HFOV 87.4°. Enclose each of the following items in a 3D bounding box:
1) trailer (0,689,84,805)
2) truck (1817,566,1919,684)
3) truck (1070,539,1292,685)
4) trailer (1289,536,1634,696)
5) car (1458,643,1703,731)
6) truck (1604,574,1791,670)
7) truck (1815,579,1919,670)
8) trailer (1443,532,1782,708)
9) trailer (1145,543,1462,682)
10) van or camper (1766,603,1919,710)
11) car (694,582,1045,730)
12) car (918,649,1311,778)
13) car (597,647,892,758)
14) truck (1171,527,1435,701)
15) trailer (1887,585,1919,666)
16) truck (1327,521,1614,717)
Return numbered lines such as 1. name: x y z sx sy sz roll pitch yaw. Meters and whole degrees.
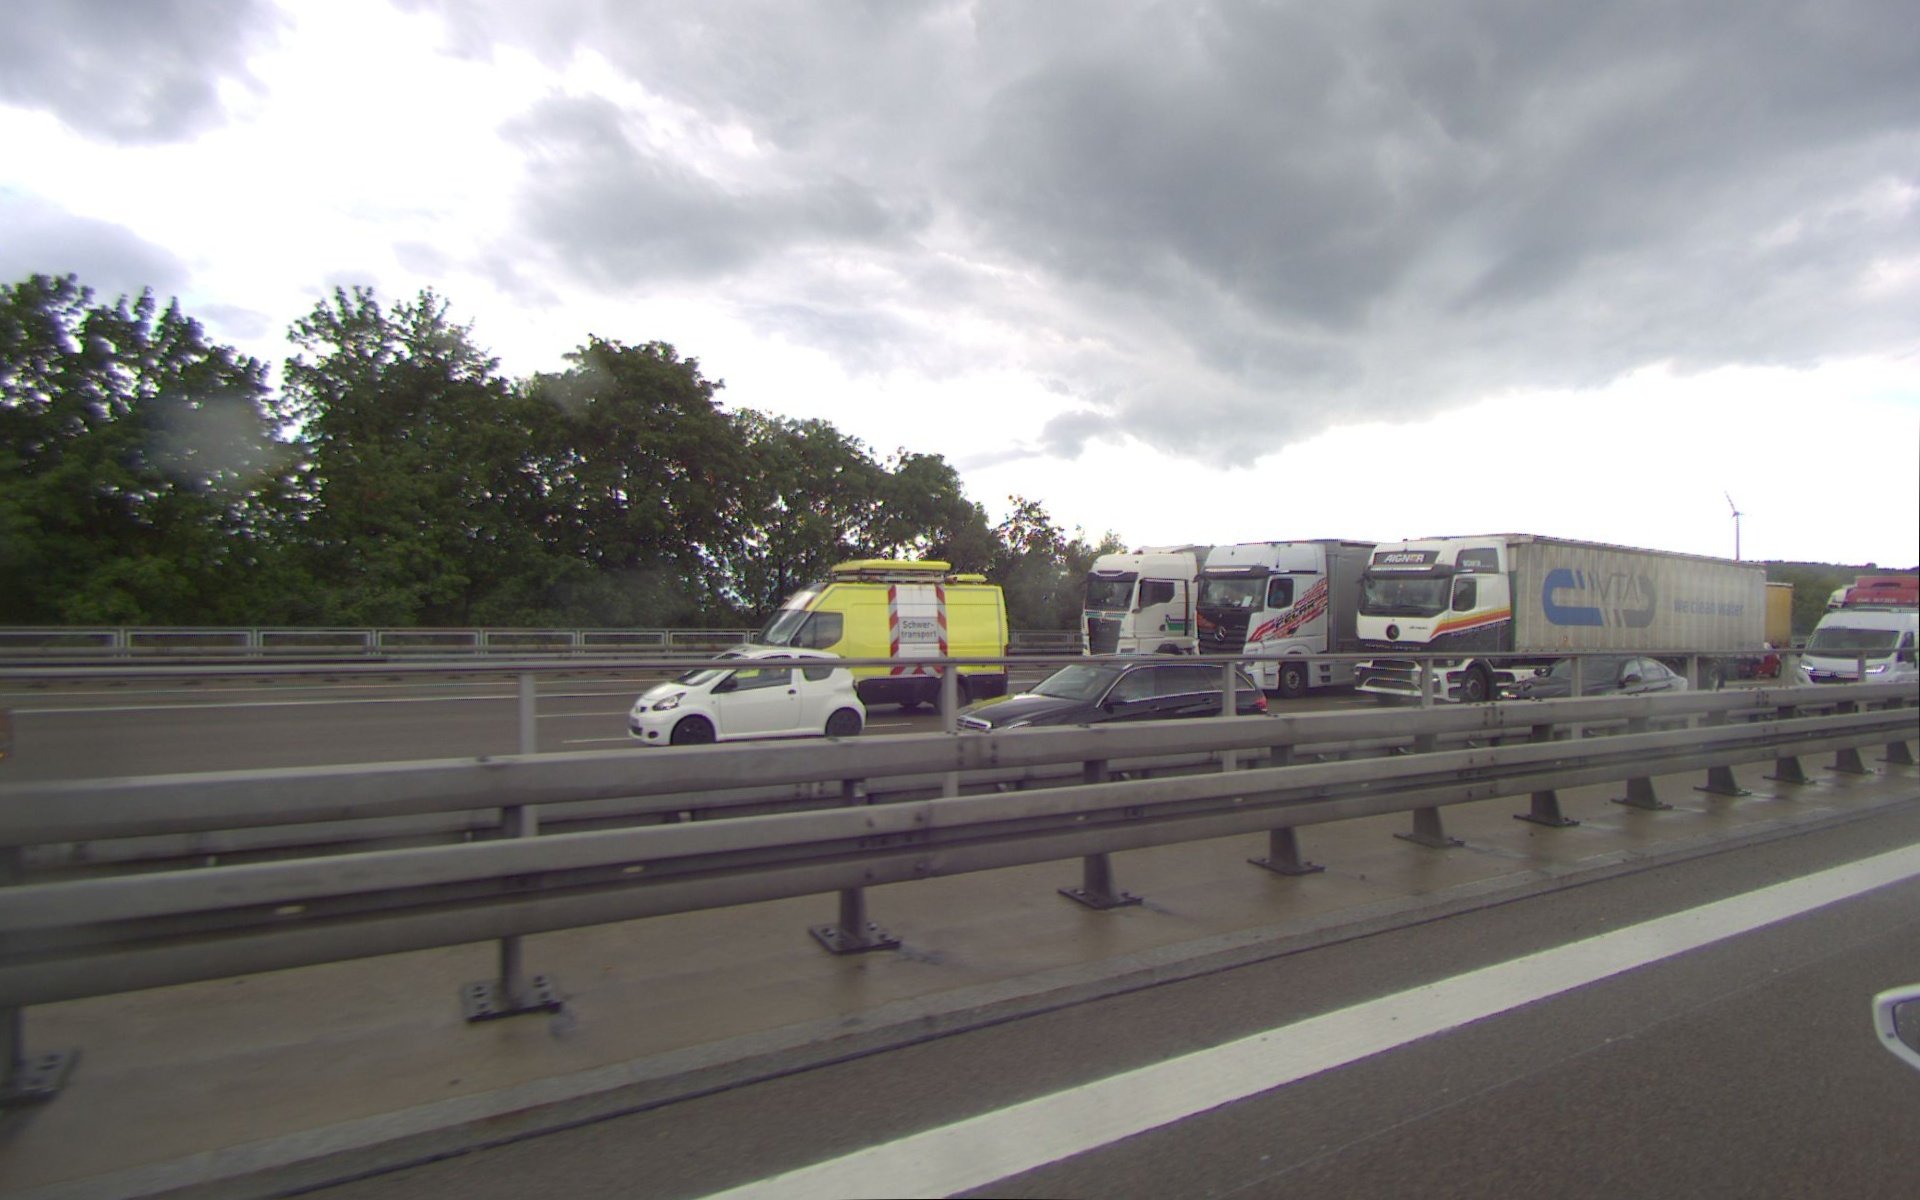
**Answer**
1. trailer: -11.171 1.513 10.071 3.303 1.051 1.716 1 -2 -31
2. truck: 38.856 1.022 40.409 12.380 4.204 2.969 1 -1 -32
3. truck: 6.790 0.413 30.620 6.498 4.046 2.746 1 -1 -30
4. trailer: 15.767 0.561 30.922 12.872 4.200 2.868 1 -1 -30
5. car: 11.973 1.581 19.280 5.106 1.437 1.913 1 -1 -31
6. truck: 34.488 1.049 46.762 11.556 4.034 2.707 1 -1 -30
7. truck: 43.230 1.148 47.476 4.905 4.083 2.831 1 0 -30
8. trailer: 18.943 0.627 28.630 12.880 4.200 2.866 1 -1 -32
9. trailer: 11.748 0.499 33.474 12.161 4.046 2.745 1 -1 -30
10. van or camper: 24.360 1.425 26.722 7.220 2.529 2.266 1 -1 -32
11. car: -1.654 1.040 19.917 6.696 2.538 2.145 1 -1 -31
12. car: 2.247 1.419 13.896 5.397 1.405 2.004 1 -1 -31
13. car: -3.187 1.444 15.105 4.054 1.405 1.593 1 -1 -31
14. truck: 9.350 0.426 27.223 7.016 4.202 2.891 1 -1 -30
15. trailer: 53.589 1.396 53.638 11.467 4.115 2.804 1 0 -31
16. truck: 12.715 0.499 24.800 7.471 4.235 2.866 1 -1 -31
